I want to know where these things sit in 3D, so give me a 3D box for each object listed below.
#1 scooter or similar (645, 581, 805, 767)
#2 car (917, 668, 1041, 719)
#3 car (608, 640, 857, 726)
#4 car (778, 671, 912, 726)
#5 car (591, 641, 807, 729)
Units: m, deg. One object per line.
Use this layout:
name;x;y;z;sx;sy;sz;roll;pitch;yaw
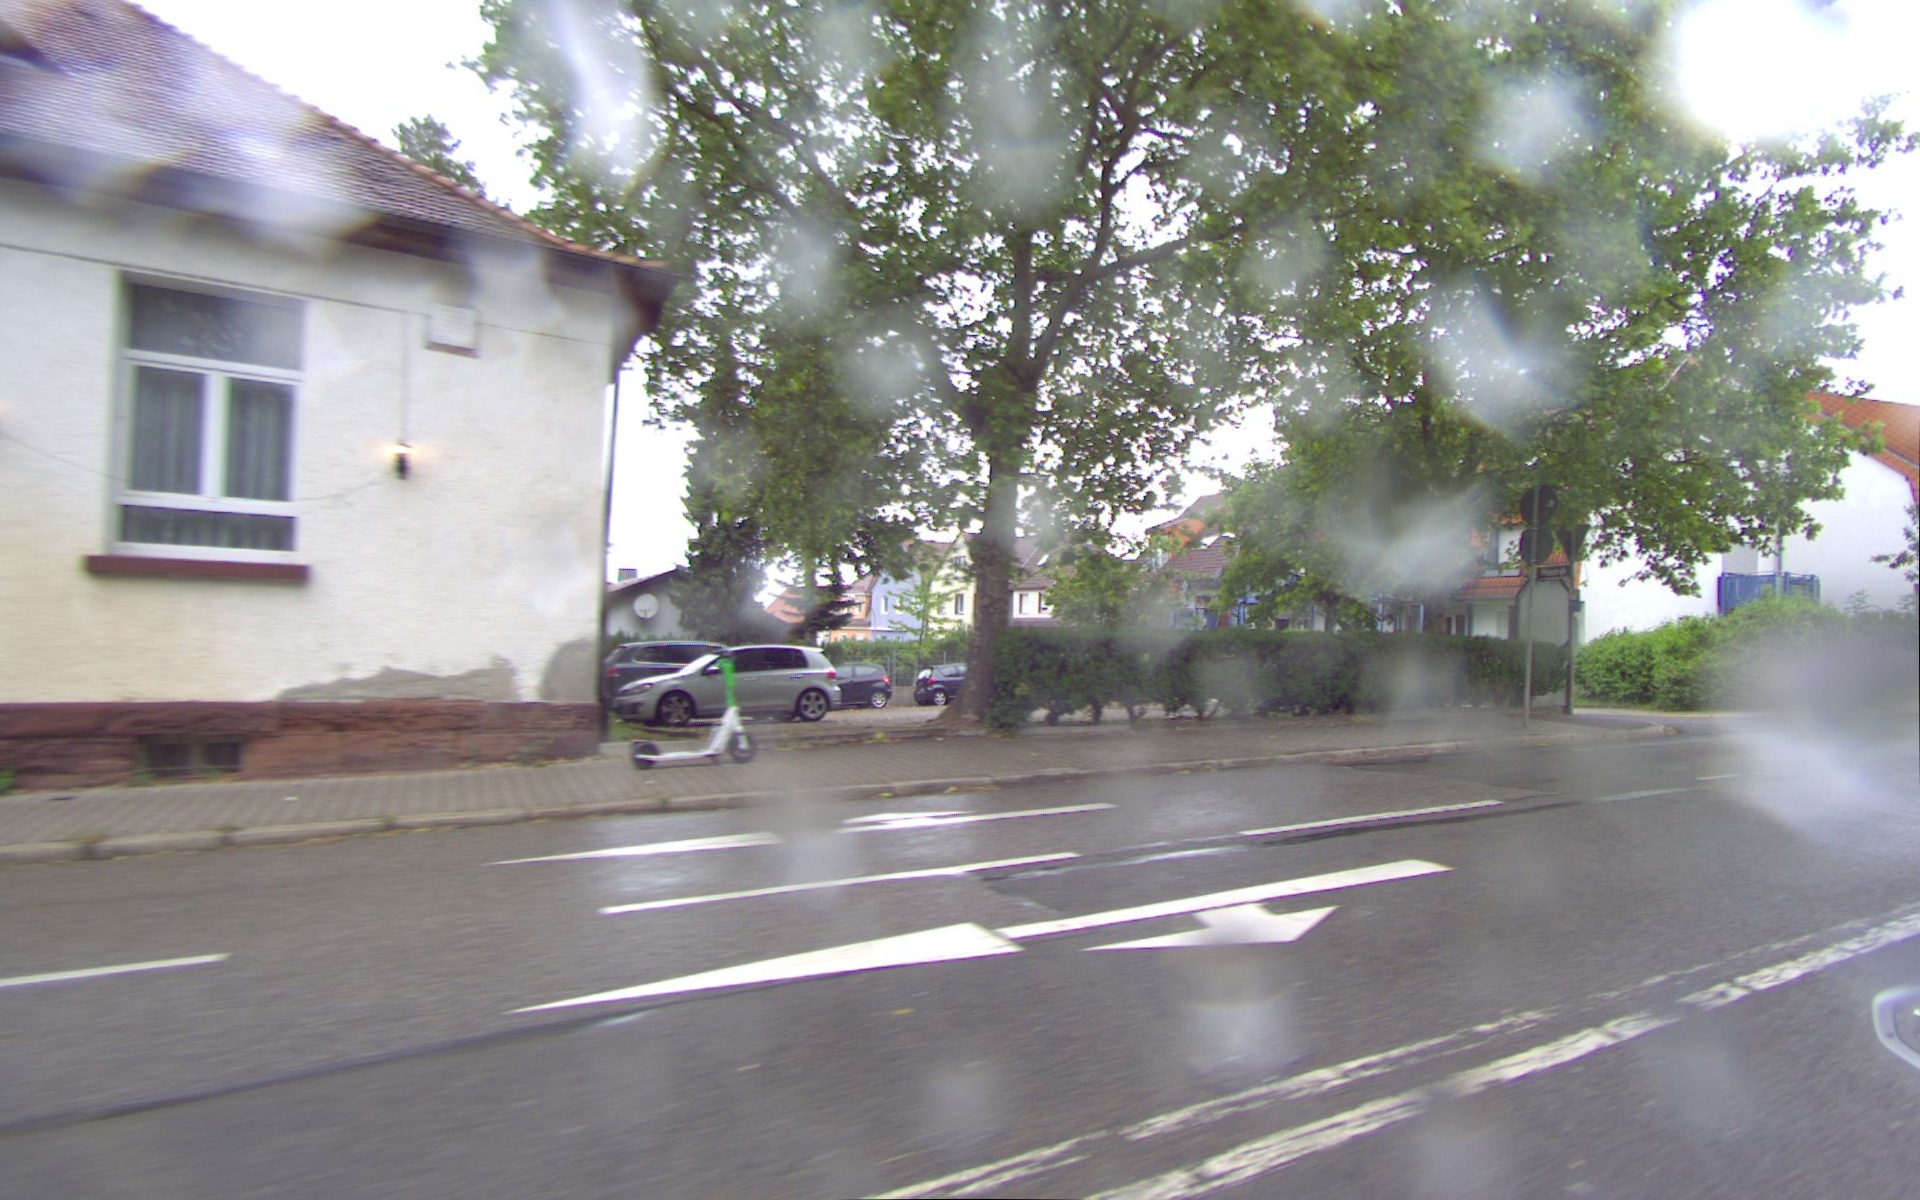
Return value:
scooter or similar;-2.379;0.743;10.261;1.496;1.798;0.398;2;-1;-33
car;0.670;3.236;35.394;3.953;1.605;1.985;1;-3;-30
car;-4.220;1.559;18.804;4.234;1.459;1.744;3;-6;-30
car;-3.771;3.176;33.010;3.953;1.605;1.985;1;-3;-30
car;-5.645;1.774;21.824;4.208;1.707;1.984;1;-3;-30
